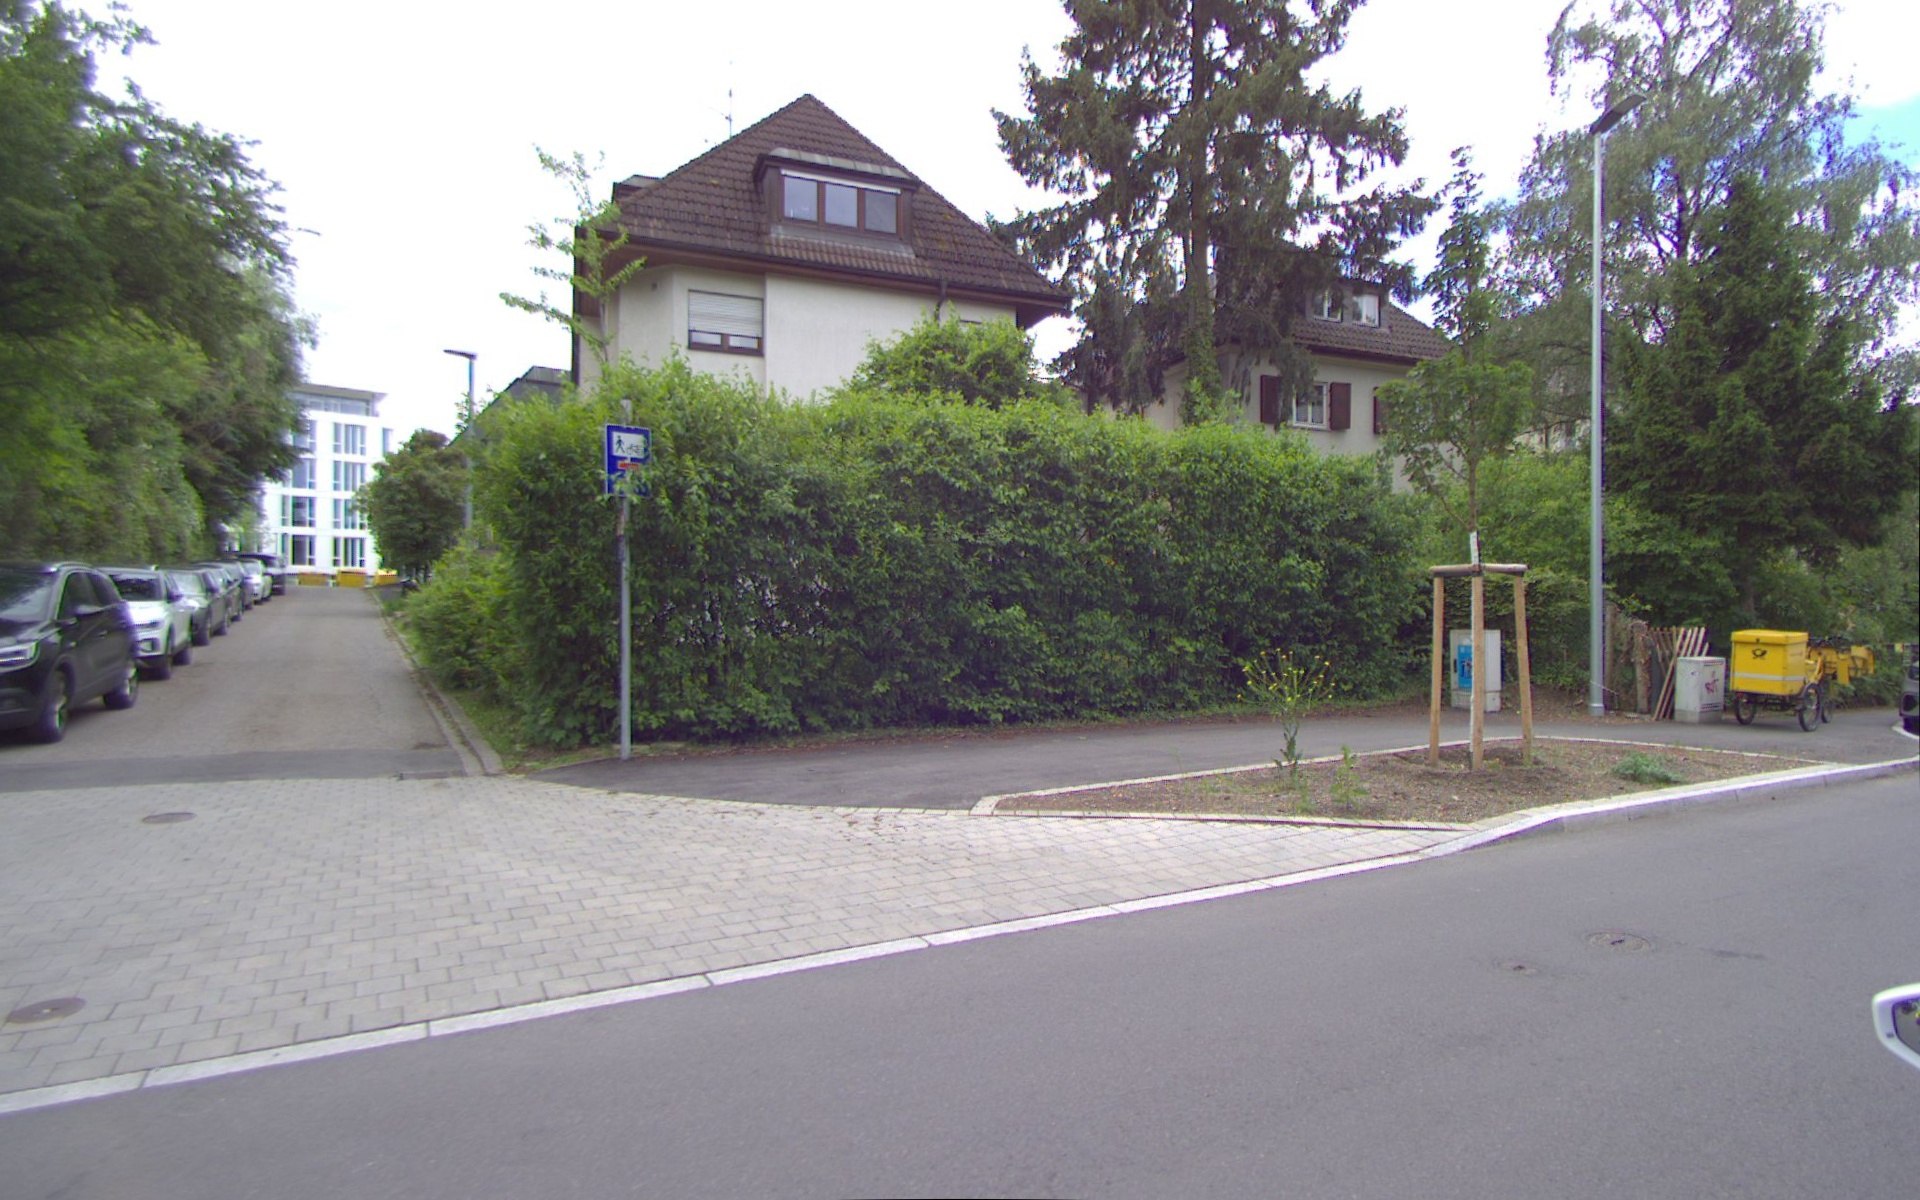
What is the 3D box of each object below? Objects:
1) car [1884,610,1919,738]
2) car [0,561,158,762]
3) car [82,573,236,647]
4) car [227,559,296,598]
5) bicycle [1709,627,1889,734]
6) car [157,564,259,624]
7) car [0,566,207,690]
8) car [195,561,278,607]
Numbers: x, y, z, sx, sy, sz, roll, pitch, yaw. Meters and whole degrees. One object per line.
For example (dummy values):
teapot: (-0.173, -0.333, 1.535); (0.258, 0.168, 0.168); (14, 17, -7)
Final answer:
car: (14.595, 1.015, 13.644); (4.250, 1.653, 1.827); (1, 0, -30)
car: (-9.299, 0.444, 9.594); (1.845, 1.614, 3.970); (1, 1, -28)
car: (-15.748, 0.160, 19.930); (1.846, 1.309, 3.501); (1, 1, -30)
car: (-27.233, -0.852, 39.255); (1.766, 1.415, 3.626); (1, 1, -28)
bicycle: (11.326, 1.039, 13.521); (2.882, 1.268, 0.901); (2, 1, -30)
car: (-19.530, -0.185, 26.224); (1.768, 1.415, 3.499); (1, 1, -31)
car: (-12.233, 0.310, 14.489); (1.848, 1.514, 3.964); (1, 1, -32)
car: (-24.055, -0.536, 33.517); (1.766, 1.415, 3.503); (1, 1, -28)
